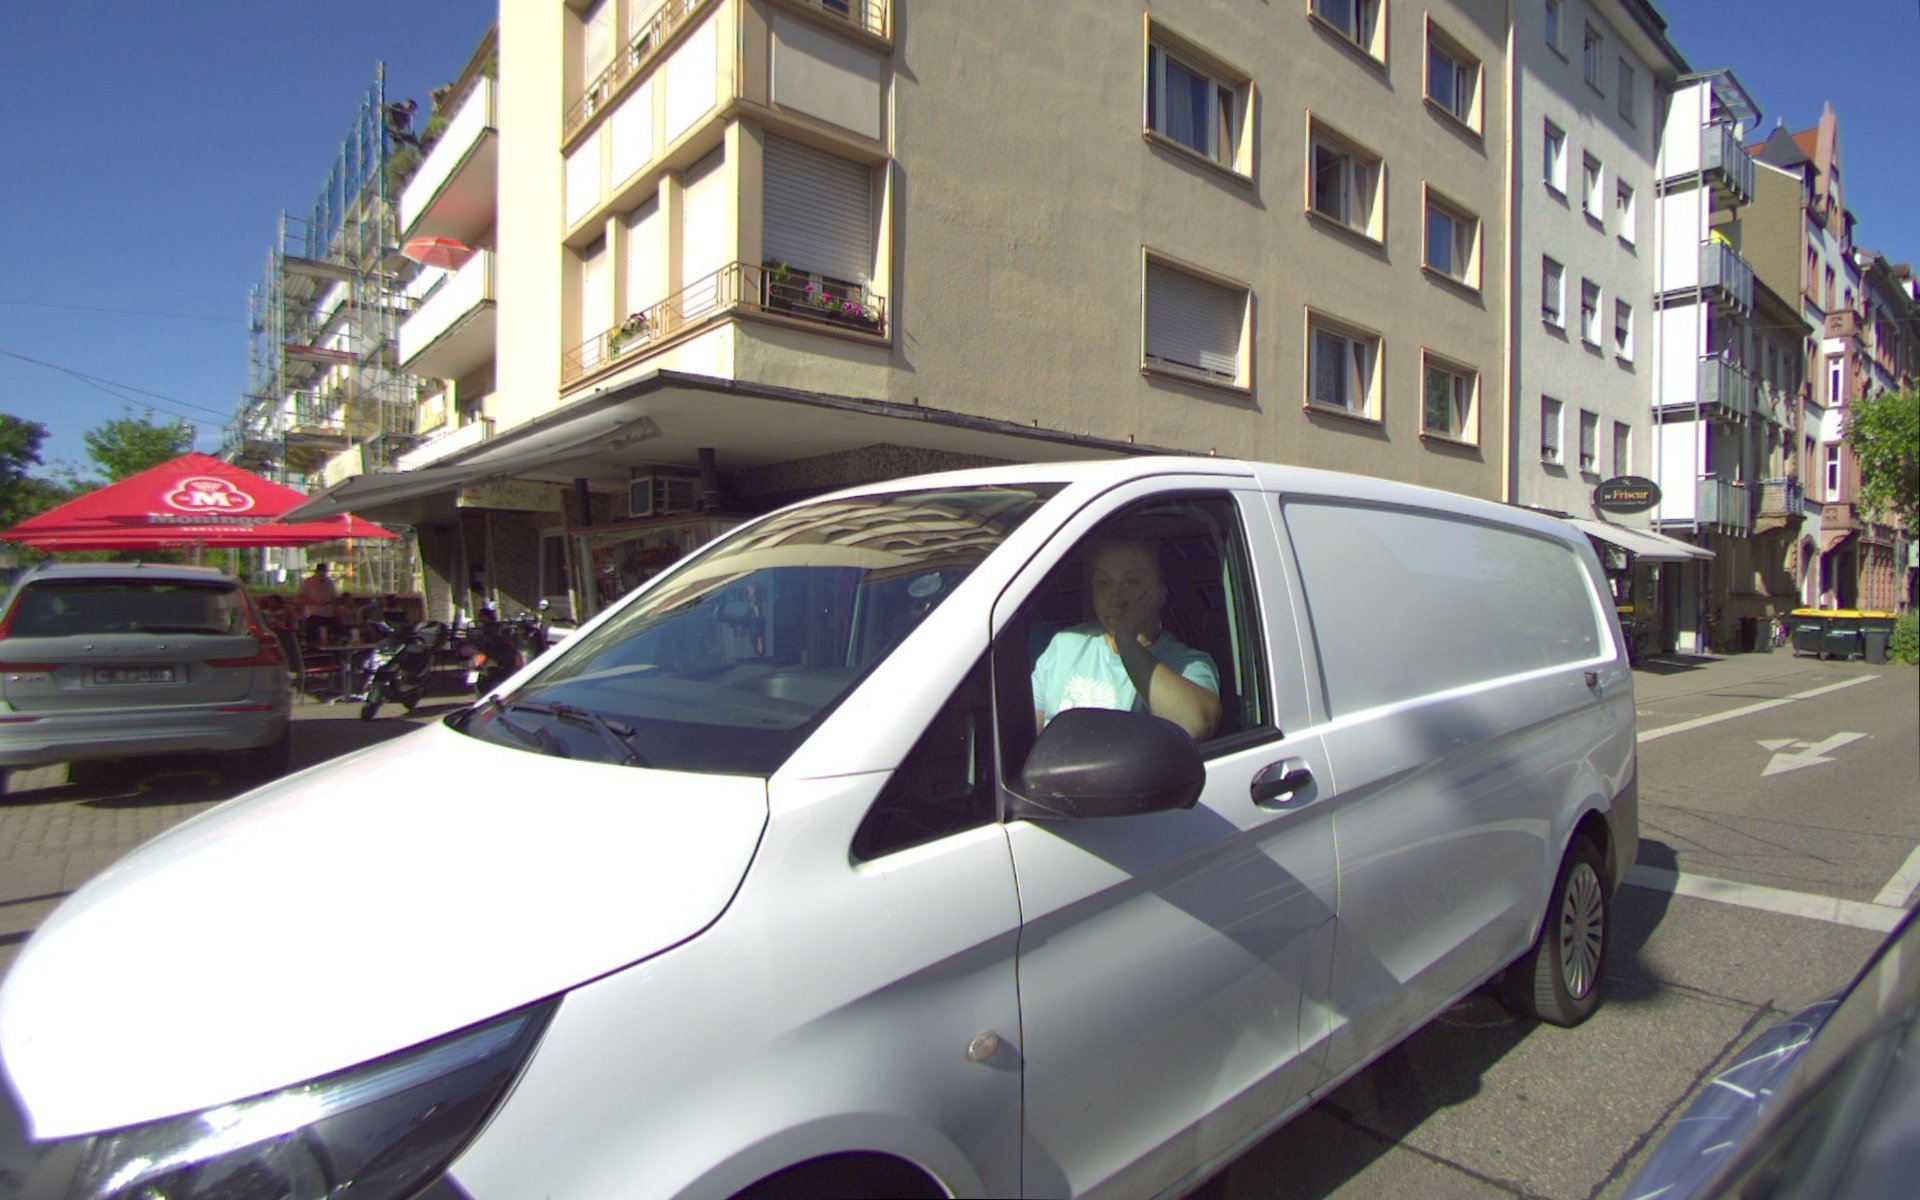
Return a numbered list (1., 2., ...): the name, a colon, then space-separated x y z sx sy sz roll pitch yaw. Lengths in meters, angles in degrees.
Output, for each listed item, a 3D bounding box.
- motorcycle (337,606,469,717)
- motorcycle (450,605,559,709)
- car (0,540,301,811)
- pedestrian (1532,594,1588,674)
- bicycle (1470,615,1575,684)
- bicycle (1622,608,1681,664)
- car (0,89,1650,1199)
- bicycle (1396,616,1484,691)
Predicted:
1. motorcycle: -6.613 0.683 12.133 0.556 1.181 2.015 0 0 -3
2. motorcycle: -5.718 0.673 12.826 0.556 1.181 2.015 0 0 -3
3. car: -6.706 0.440 8.270 1.793 1.683 3.996 0 1 -39
4. pedestrian: 11.270 0.618 19.009 0.615 1.460 0.774 0 0 -45
5. bicycle: 9.786 0.844 17.651 1.475 1.120 0.719 1 0 18
6. bicycle: 15.467 0.779 22.613 1.742 1.157 0.598 0 3 -40
7. car: 0.268 0.469 3.100 4.749 1.833 1.971 0 1 -42
8. bicycle: 7.606 0.818 16.010 1.766 1.098 0.408 0 3 -35
